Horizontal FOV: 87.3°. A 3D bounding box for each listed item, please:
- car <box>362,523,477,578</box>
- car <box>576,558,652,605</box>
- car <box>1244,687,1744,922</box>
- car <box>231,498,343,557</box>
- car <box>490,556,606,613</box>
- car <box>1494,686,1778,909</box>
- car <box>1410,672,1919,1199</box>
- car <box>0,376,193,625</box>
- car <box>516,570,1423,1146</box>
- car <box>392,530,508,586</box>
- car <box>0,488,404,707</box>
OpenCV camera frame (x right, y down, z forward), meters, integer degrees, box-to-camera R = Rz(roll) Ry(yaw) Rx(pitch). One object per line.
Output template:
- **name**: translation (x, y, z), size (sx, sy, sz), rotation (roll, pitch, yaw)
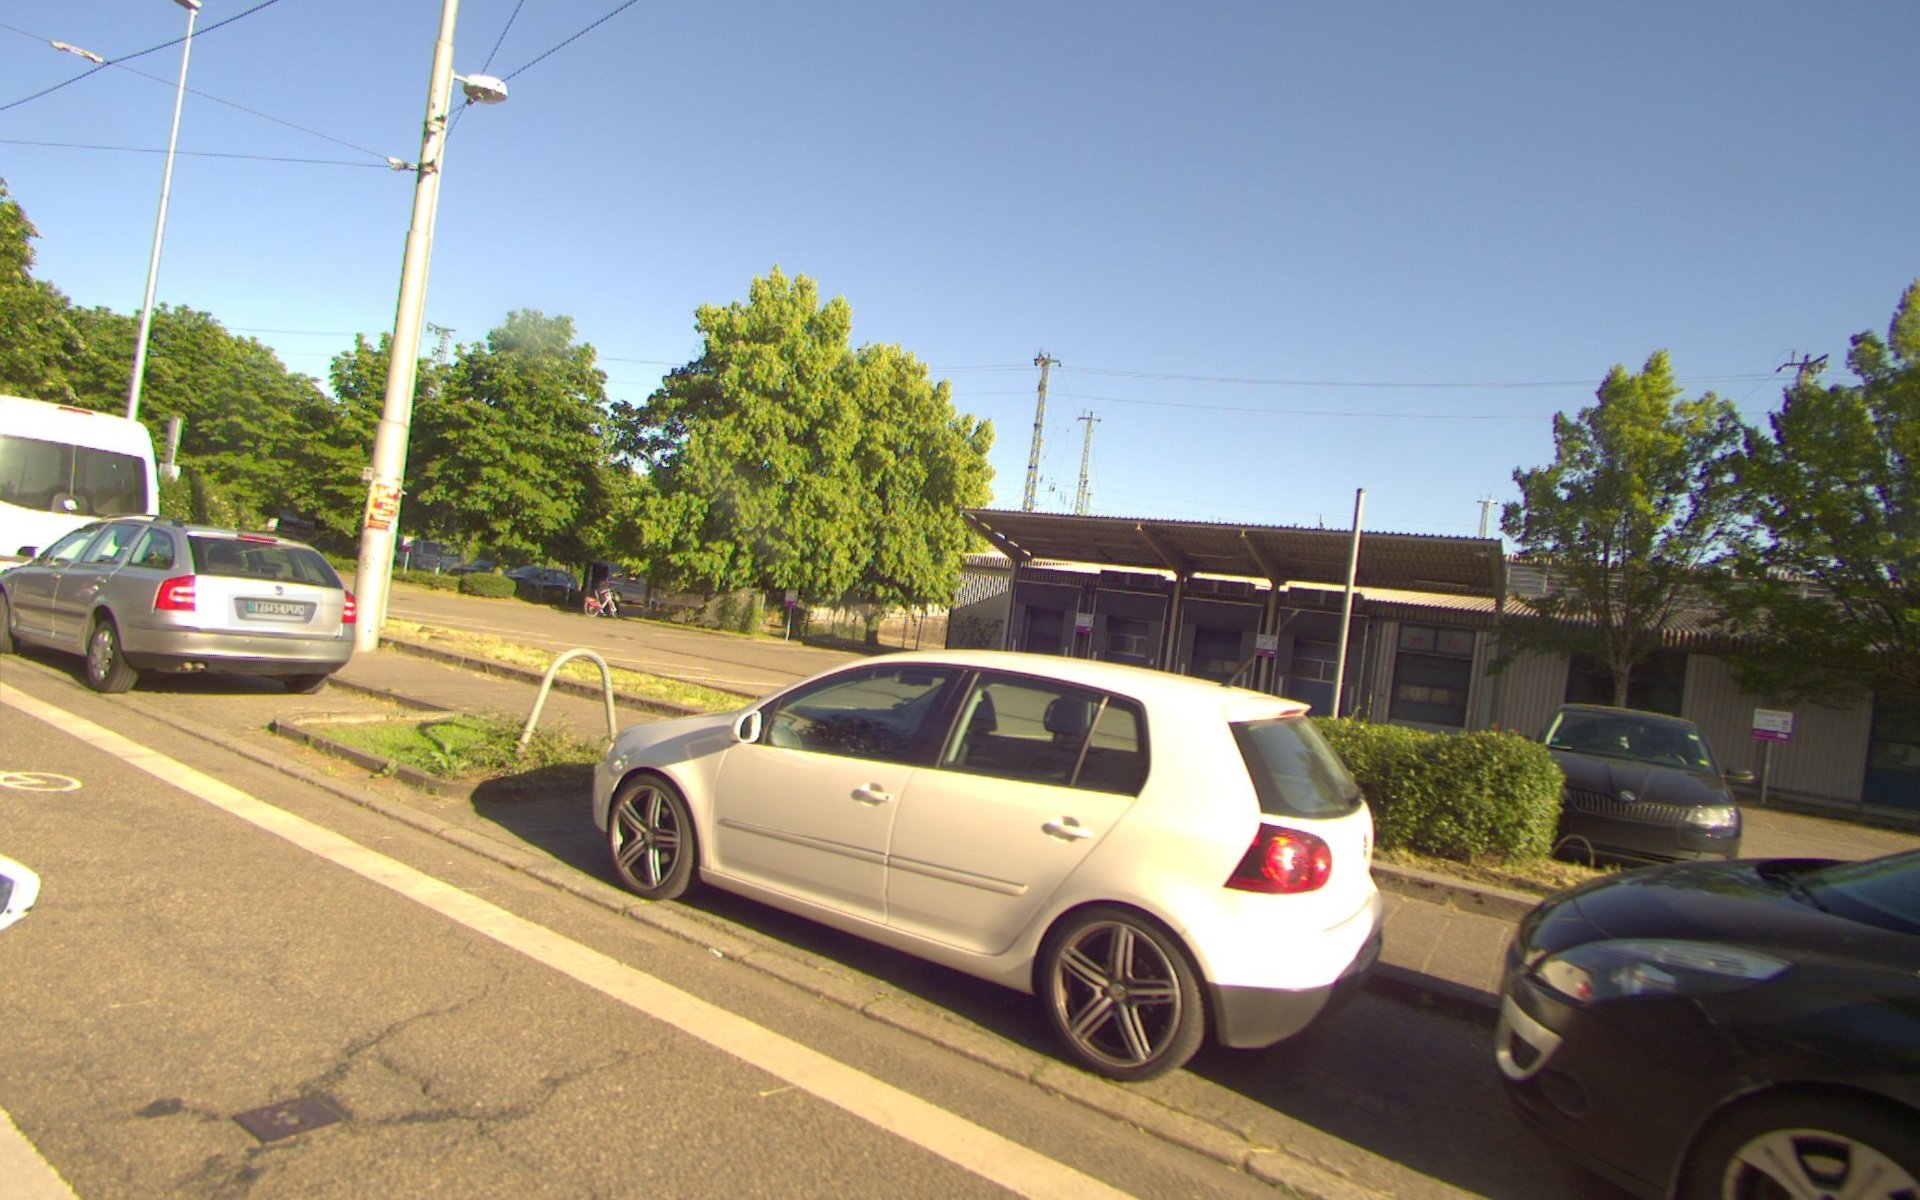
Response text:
- **car**: translation (-26.775, -2.402, 50.034), size (1.926, 1.835, 4.702), rotation (7, -3, 24)
- **car**: translation (-21.393, -1.094, 62.399), size (2.032, 2.328, 4.203), rotation (7, -1, 20)
- **car**: translation (3.884, 1.421, 7.625), size (3.006, 1.044, 1.312), rotation (7, -3, 31)
- **car**: translation (-34.750, -3.690, 52.074), size (2.104, 2.267, 4.203), rotation (7, -1, 20)
- **car**: translation (-18.766, -0.665, 46.064), size (1.926, 1.835, 4.702), rotation (7, -3, 24)
- **car**: translation (6.186, 1.731, 9.511), size (1.729, 1.415, 3.713), rotation (7, -3, 31)
- **car**: translation (3.738, 1.292, 2.730), size (4.271, 1.624, 1.729), rotation (7, 0, 32)
- **car**: translation (-12.973, -1.393, 13.389), size (5.989, 2.699, 2.183), rotation (7, 1, 31)
- **car**: translation (-0.130, 0.864, 5.087), size (4.182, 1.530, 1.730), rotation (7, 0, 32)
- **car**: translation (-24.695, -2.000, 48.943), size (1.926, 1.835, 4.702), rotation (7, -3, 24)
- **car**: translation (-7.670, -0.080, 9.733), size (4.524, 1.548, 1.914), rotation (7, -1, 31)
